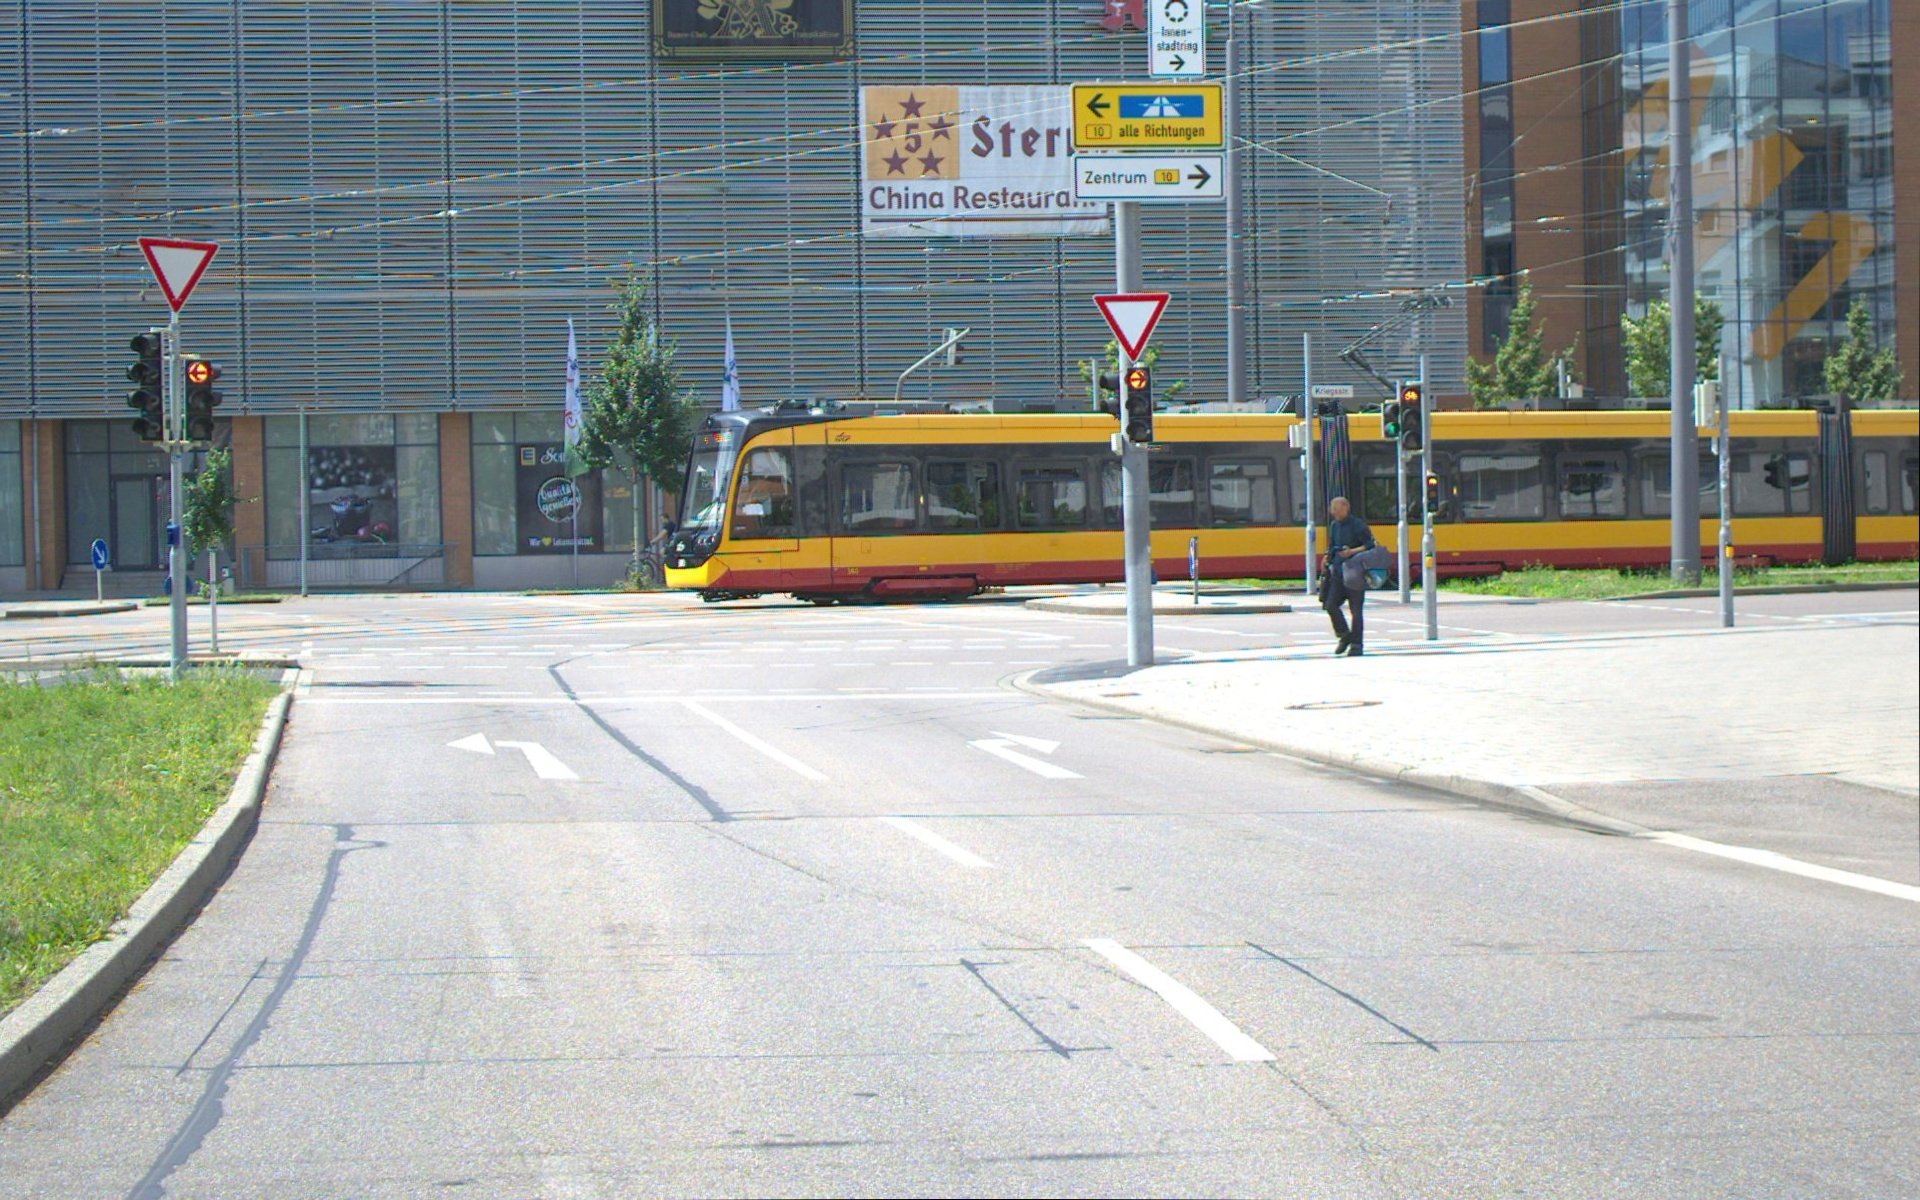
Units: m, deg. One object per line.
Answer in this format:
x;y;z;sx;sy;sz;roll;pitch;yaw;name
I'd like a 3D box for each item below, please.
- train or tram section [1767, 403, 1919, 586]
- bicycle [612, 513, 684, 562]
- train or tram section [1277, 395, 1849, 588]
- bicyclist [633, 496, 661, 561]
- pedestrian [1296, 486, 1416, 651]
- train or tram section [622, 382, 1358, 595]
23.102;-2.158;71.295;12.590;3.608;3.066;0;2;-18;train or tram section
-7.802;-1.568;85.974;1.760;1.219;0.584;0;1;-7;bicycle
11.871;-2.099;67.519;10.953;3.590;3.066;0;2;-19;train or tram section
-7.829;-1.779;85.962;0.662;1.618;0.551;0;1;-7;bicyclist
4.187;-0.336;36.362;0.806;1.696;0.918;-3;1;-37;pedestrian
0.730;-1.980;62.356;13.454;3.587;3.227;-1;2;-28;train or tram section
